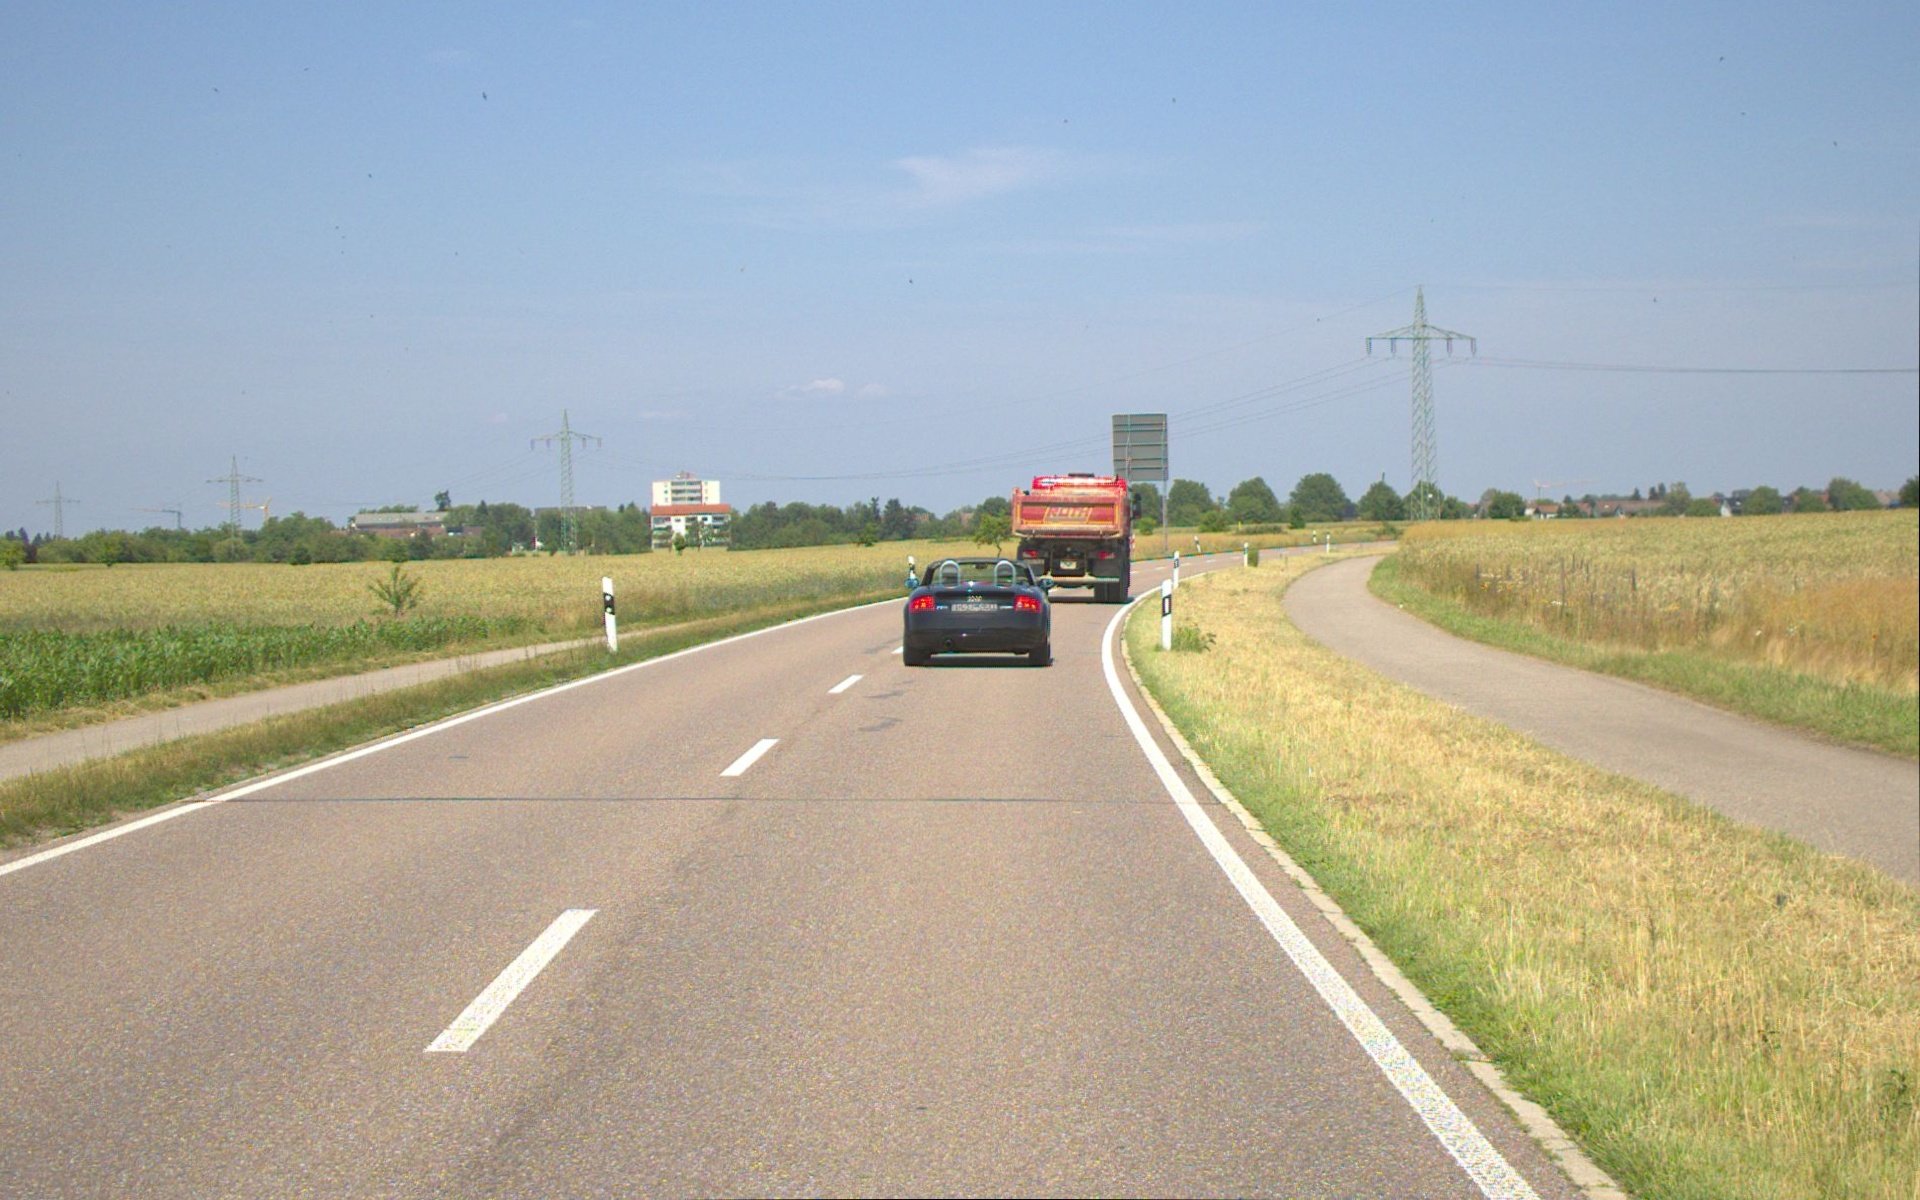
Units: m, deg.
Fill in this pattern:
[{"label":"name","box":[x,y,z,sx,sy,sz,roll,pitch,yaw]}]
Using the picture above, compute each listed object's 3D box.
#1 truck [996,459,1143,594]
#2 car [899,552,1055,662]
[{"label":"truck","box":[2.680,-1.701,82.051,2.939,3.078,7.194,0,0,6]},{"label":"car","box":[0.253,0.058,42.098,1.744,1.275,4.000,0,1,3]}]
